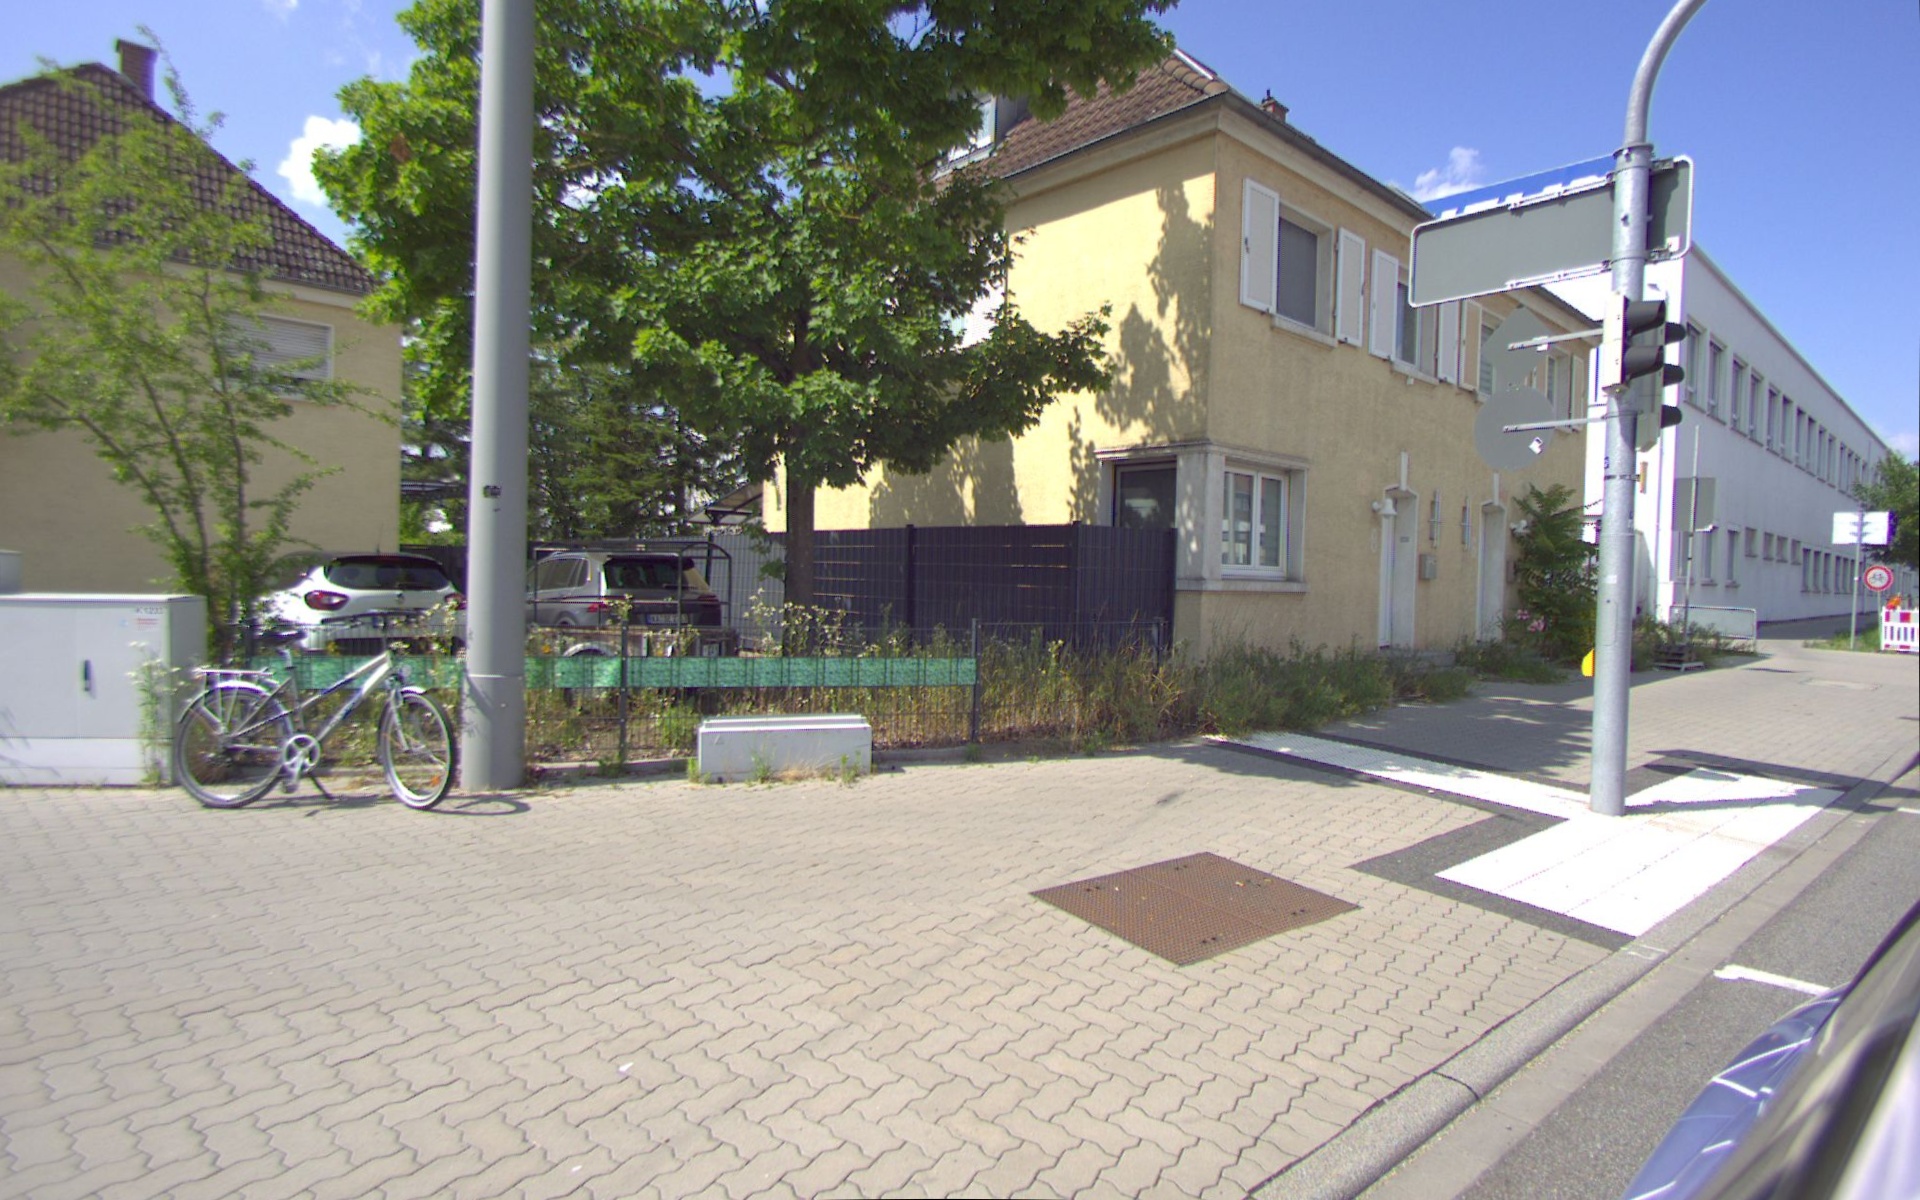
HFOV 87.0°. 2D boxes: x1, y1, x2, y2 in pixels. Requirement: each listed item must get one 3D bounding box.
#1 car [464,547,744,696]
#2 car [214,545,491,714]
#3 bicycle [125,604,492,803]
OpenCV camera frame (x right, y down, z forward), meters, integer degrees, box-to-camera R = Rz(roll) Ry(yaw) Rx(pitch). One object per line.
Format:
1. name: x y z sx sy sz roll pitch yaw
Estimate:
1. car: -4.720 0.176 13.097 4.106 1.616 1.772 2 1 44
2. car: -7.165 0.227 11.760 4.106 1.616 1.772 2 1 44
3. bicycle: -3.557 0.551 5.589 1.722 1.031 0.463 0 0 0
